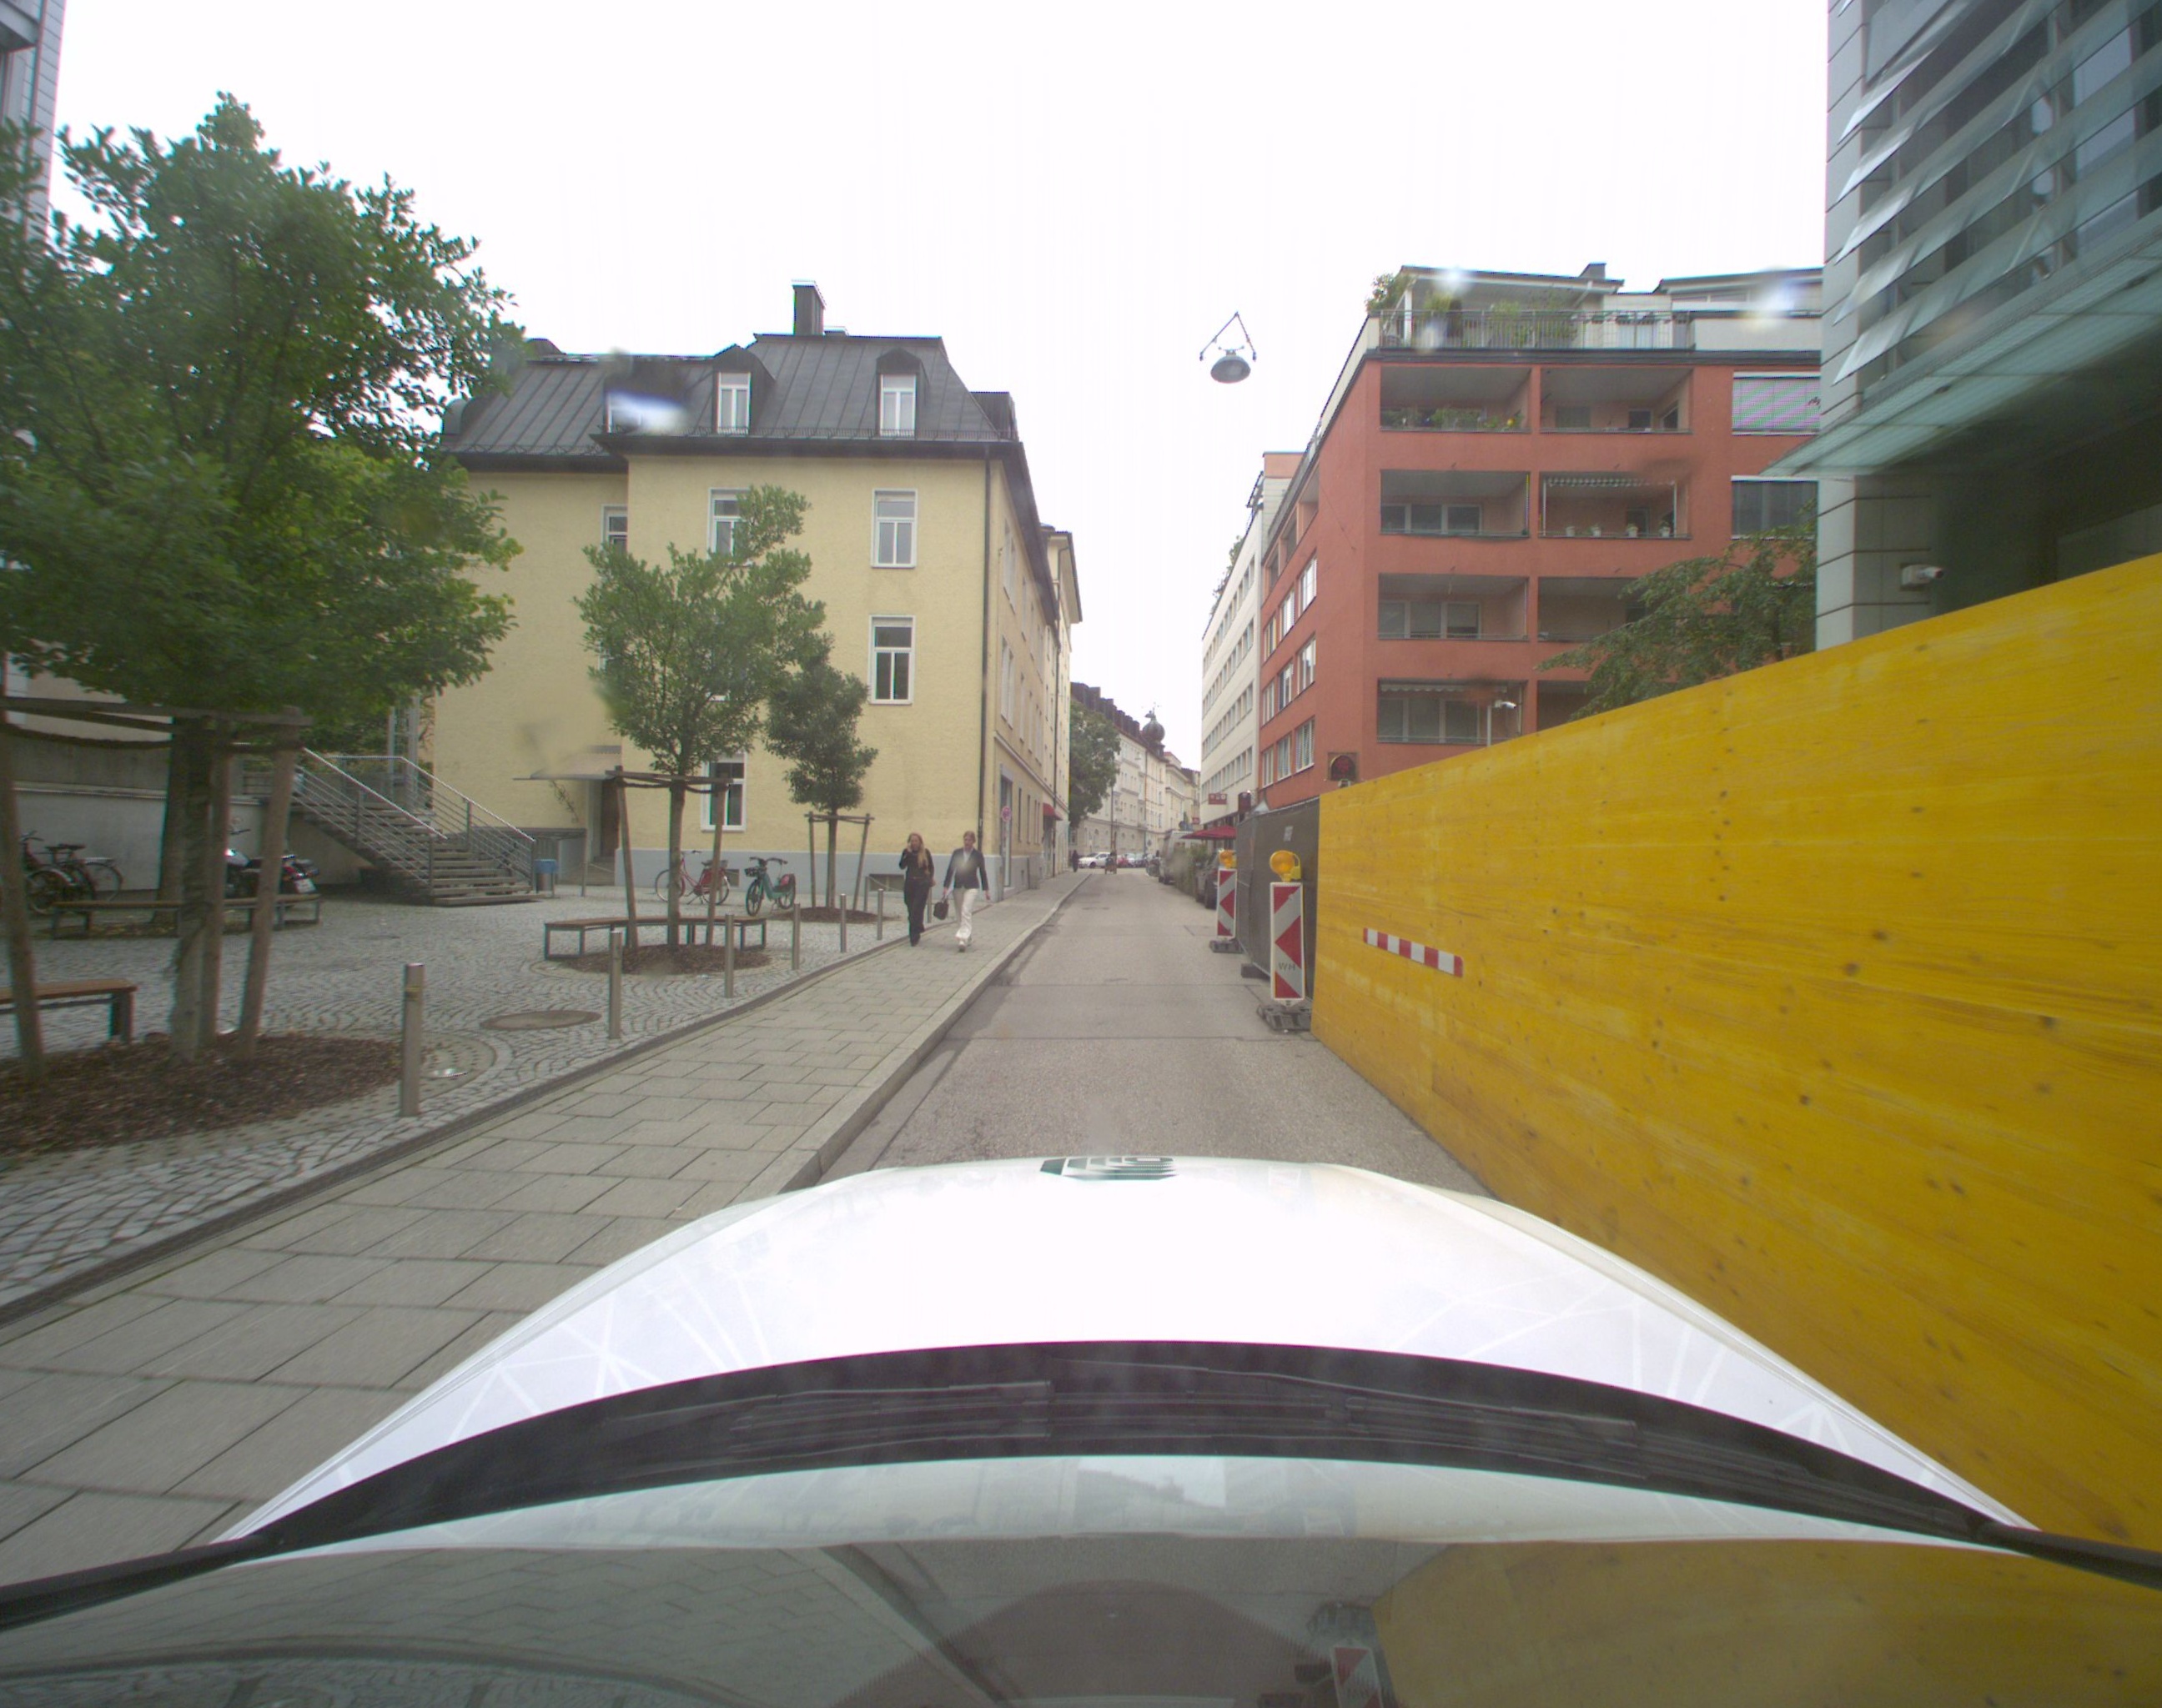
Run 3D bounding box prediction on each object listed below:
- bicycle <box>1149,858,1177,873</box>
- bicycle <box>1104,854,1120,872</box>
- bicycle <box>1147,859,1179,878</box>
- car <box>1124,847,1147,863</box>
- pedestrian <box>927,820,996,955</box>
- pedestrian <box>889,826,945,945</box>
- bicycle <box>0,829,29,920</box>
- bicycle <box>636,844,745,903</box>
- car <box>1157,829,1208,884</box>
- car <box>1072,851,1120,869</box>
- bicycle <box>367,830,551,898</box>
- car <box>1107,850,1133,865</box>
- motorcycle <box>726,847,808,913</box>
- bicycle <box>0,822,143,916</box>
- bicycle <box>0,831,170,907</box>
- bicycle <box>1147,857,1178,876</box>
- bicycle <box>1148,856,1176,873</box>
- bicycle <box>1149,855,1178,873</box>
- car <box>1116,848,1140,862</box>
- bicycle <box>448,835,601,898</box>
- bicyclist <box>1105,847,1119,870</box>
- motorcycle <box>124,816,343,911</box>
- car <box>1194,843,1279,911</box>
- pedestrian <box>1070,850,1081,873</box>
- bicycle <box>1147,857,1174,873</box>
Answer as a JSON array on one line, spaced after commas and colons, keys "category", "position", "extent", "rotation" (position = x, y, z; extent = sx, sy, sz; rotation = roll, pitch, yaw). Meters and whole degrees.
[{"category": "bicycle", "position": [5.609, 0.799, 55.970], "extent": [1.868, 1.052, 0.564], "rotation": [1, -2, -2]}, {"category": "bicycle", "position": [2.257, 0.667, 59.194], "extent": [0.926, 1.257, 2.419], "rotation": [0, -1, 8]}, {"category": "bicycle", "position": [5.146, 0.888, 51.041], "extent": [1.868, 1.079, 0.488], "rotation": [3, 1, 0]}, {"category": "car", "position": [6.078, 0.119, 90.423], "extent": [1.930, 1.702, 4.013], "rotation": [2, 0, 12]}, {"category": "pedestrian", "position": [-1.699, 0.464, 11.721], "extent": [0.773, 1.836, 0.992], "rotation": [1, 0, 2]}, {"category": "pedestrian", "position": [-2.401, 0.446, 12.012], "extent": [0.550, 1.660, 0.998], "rotation": [1, 0, 2]}, {"category": "bicycle", "position": [-14.412, 0.229, 10.061], "extent": [1.887, 1.126, 0.828], "rotation": [2, 0, 6]}, {"category": "bicycle", "position": [-8.416, 0.420, 17.599], "extent": [1.964, 1.173, 0.749], "rotation": [2, -1, 6]}, {"category": "car", "position": [4.995, 0.100, 40.885], "extent": [1.913, 2.506, 5.999], "rotation": [2, 0, 1]}, {"category": "car", "position": [1.347, 0.567, 72.997], "extent": [3.781, 1.578, 1.981], "rotation": [0, -1, -30]}, {"category": "bicycle", "position": [-12.836, 0.200, 16.857], "extent": [3.211, 1.251, 0.767], "rotation": [2, 0, 2]}, {"category": "car", "position": [3.867, 0.367, 80.819], "extent": [1.718, 1.378, 4.242], "rotation": [1, 0, 14]}, {"category": "motorcycle", "position": [-6.057, 0.481, 15.832], "extent": [0.573, 1.173, 1.985], "rotation": [2, 0, 8]}, {"category": "bicycle", "position": [-14.256, 0.187, 11.247], "extent": [1.887, 1.203, 0.699], "rotation": [2, 0, 6]}, {"category": "bicycle", "position": [-15.292, 0.215, 12.526], "extent": [0.414, 1.091, 1.798], "rotation": [0, 0, 6]}, {"category": "bicycle", "position": [5.202, 0.775, 52.171], "extent": [1.868, 1.108, 0.488], "rotation": [3, 1, 0]}, {"category": "bicycle", "position": [5.484, 0.727, 55.271], "extent": [1.868, 1.095, 0.440], "rotation": [1, 1, -2]}, {"category": "bicycle", "position": [5.465, 0.662, 54.099], "extent": [1.867, 1.204, 0.579], "rotation": [0, 0, 0]}, {"category": "car", "position": [4.974, 0.118, 85.516], "extent": [1.981, 1.473, 4.231], "rotation": [1, 0, 10]}, {"category": "bicycle", "position": [-12.349, 0.272, 18.112], "extent": [2.841, 1.251, 0.767], "rotation": [2, 0, 2]}, {"category": "bicyclist", "position": [2.295, 0.325, 59.458], "extent": [0.921, 1.721, 1.102], "rotation": [0, 0, 8]}, {"category": "motorcycle", "position": [-13.552, 0.138, 13.069], "extent": [2.651, 1.412, 0.971], "rotation": [1, 0, 6]}, {"category": "car", "position": [4.373, 0.603, 23.479], "extent": [1.816, 1.710, 4.393], "rotation": [2, 0, 3]}, {"category": "pedestrian", "position": [-0.367, 0.529, 57.508], "extent": [0.690, 1.632, 0.663], "rotation": [2, 0, 1]}, {"category": "bicycle", "position": [5.581, 0.752, 57.109], "extent": [1.868, 1.079, 0.408], "rotation": [1, 1, -2]}]
